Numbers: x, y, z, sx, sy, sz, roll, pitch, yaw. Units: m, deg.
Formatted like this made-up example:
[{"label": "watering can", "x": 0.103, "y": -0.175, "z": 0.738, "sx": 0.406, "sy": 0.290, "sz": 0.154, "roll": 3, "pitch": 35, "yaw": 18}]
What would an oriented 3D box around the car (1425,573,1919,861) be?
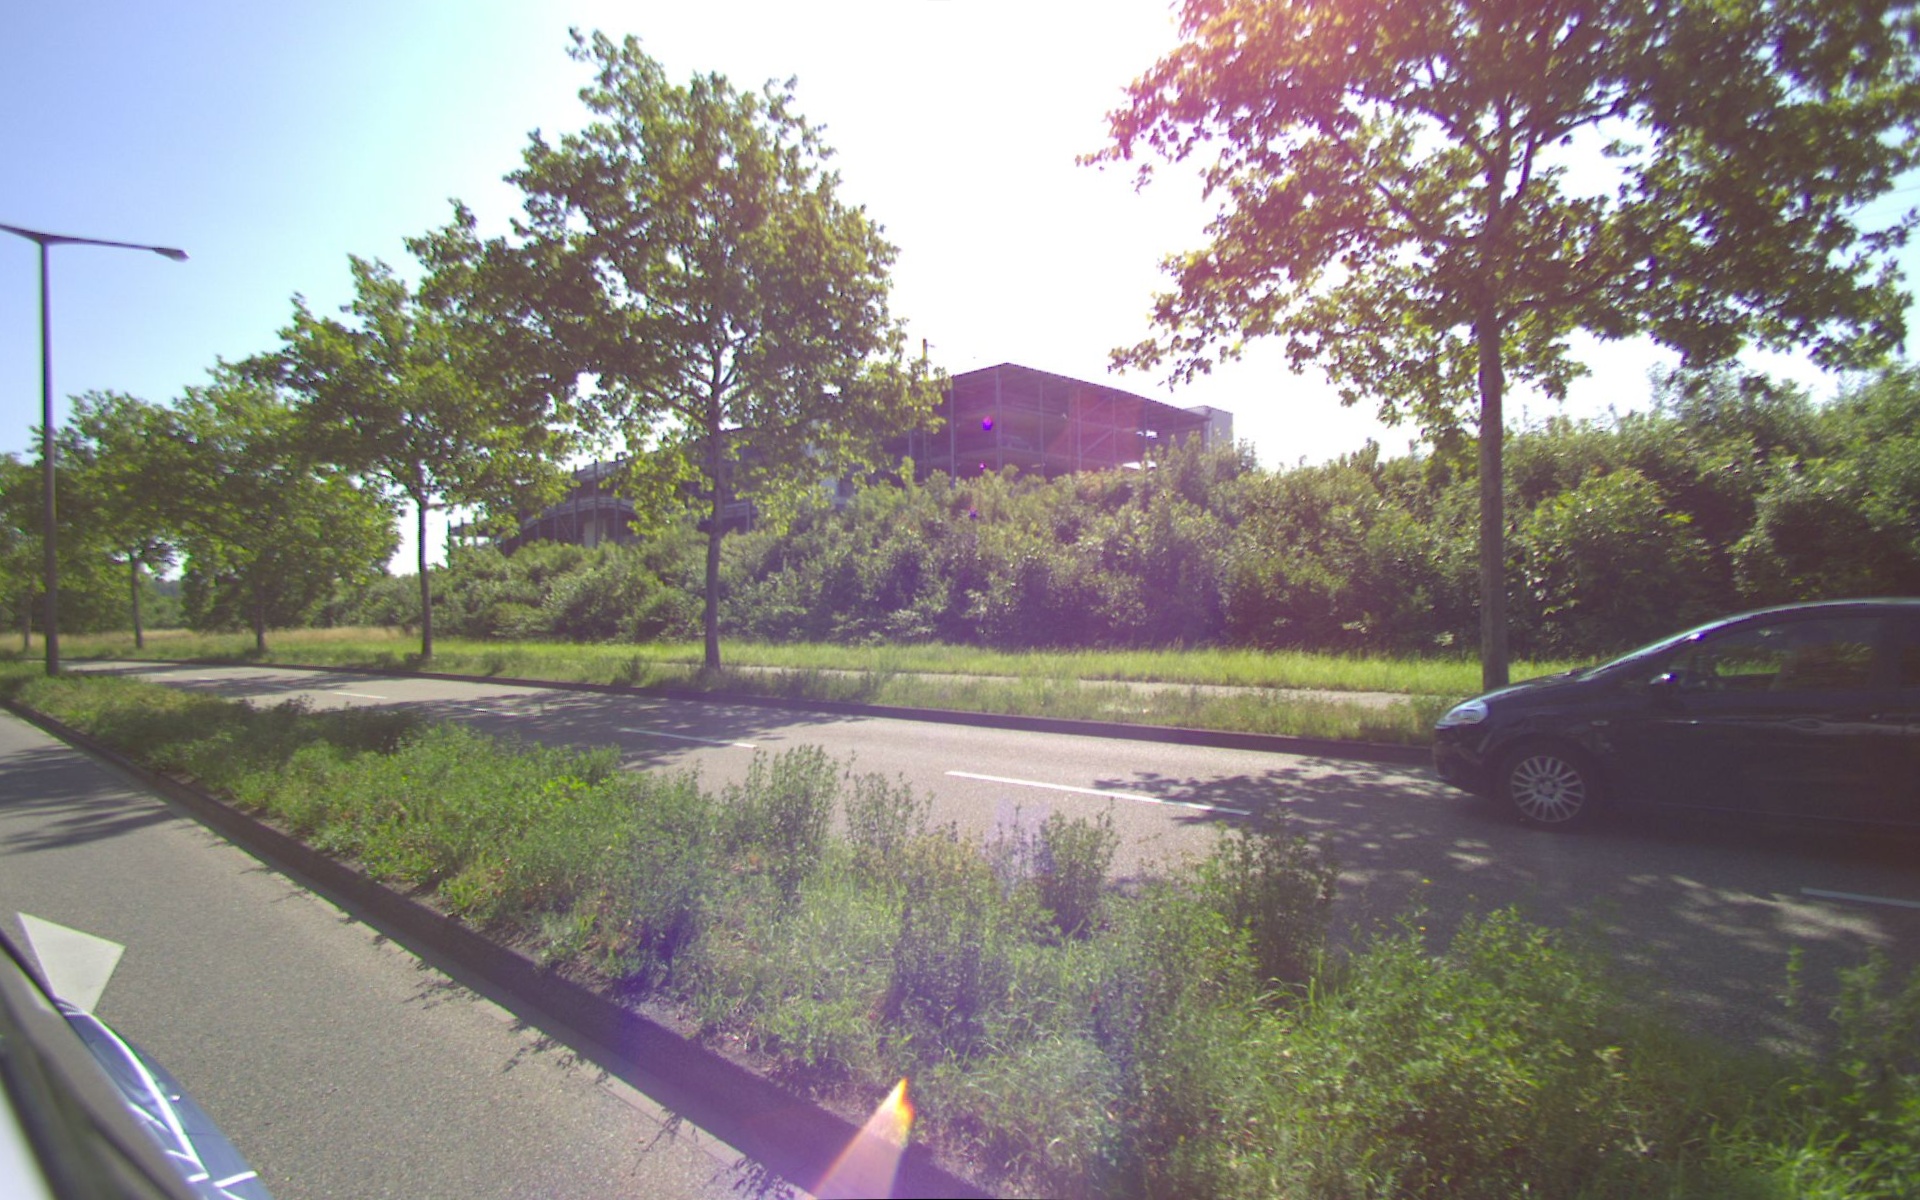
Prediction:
[{"label": "car", "x": 5.119, "y": 0.595, "z": 6.091, "sx": 3.926, "sy": 1.481, "sz": 1.553, "roll": -1, "pitch": 0, "yaw": 42}]
